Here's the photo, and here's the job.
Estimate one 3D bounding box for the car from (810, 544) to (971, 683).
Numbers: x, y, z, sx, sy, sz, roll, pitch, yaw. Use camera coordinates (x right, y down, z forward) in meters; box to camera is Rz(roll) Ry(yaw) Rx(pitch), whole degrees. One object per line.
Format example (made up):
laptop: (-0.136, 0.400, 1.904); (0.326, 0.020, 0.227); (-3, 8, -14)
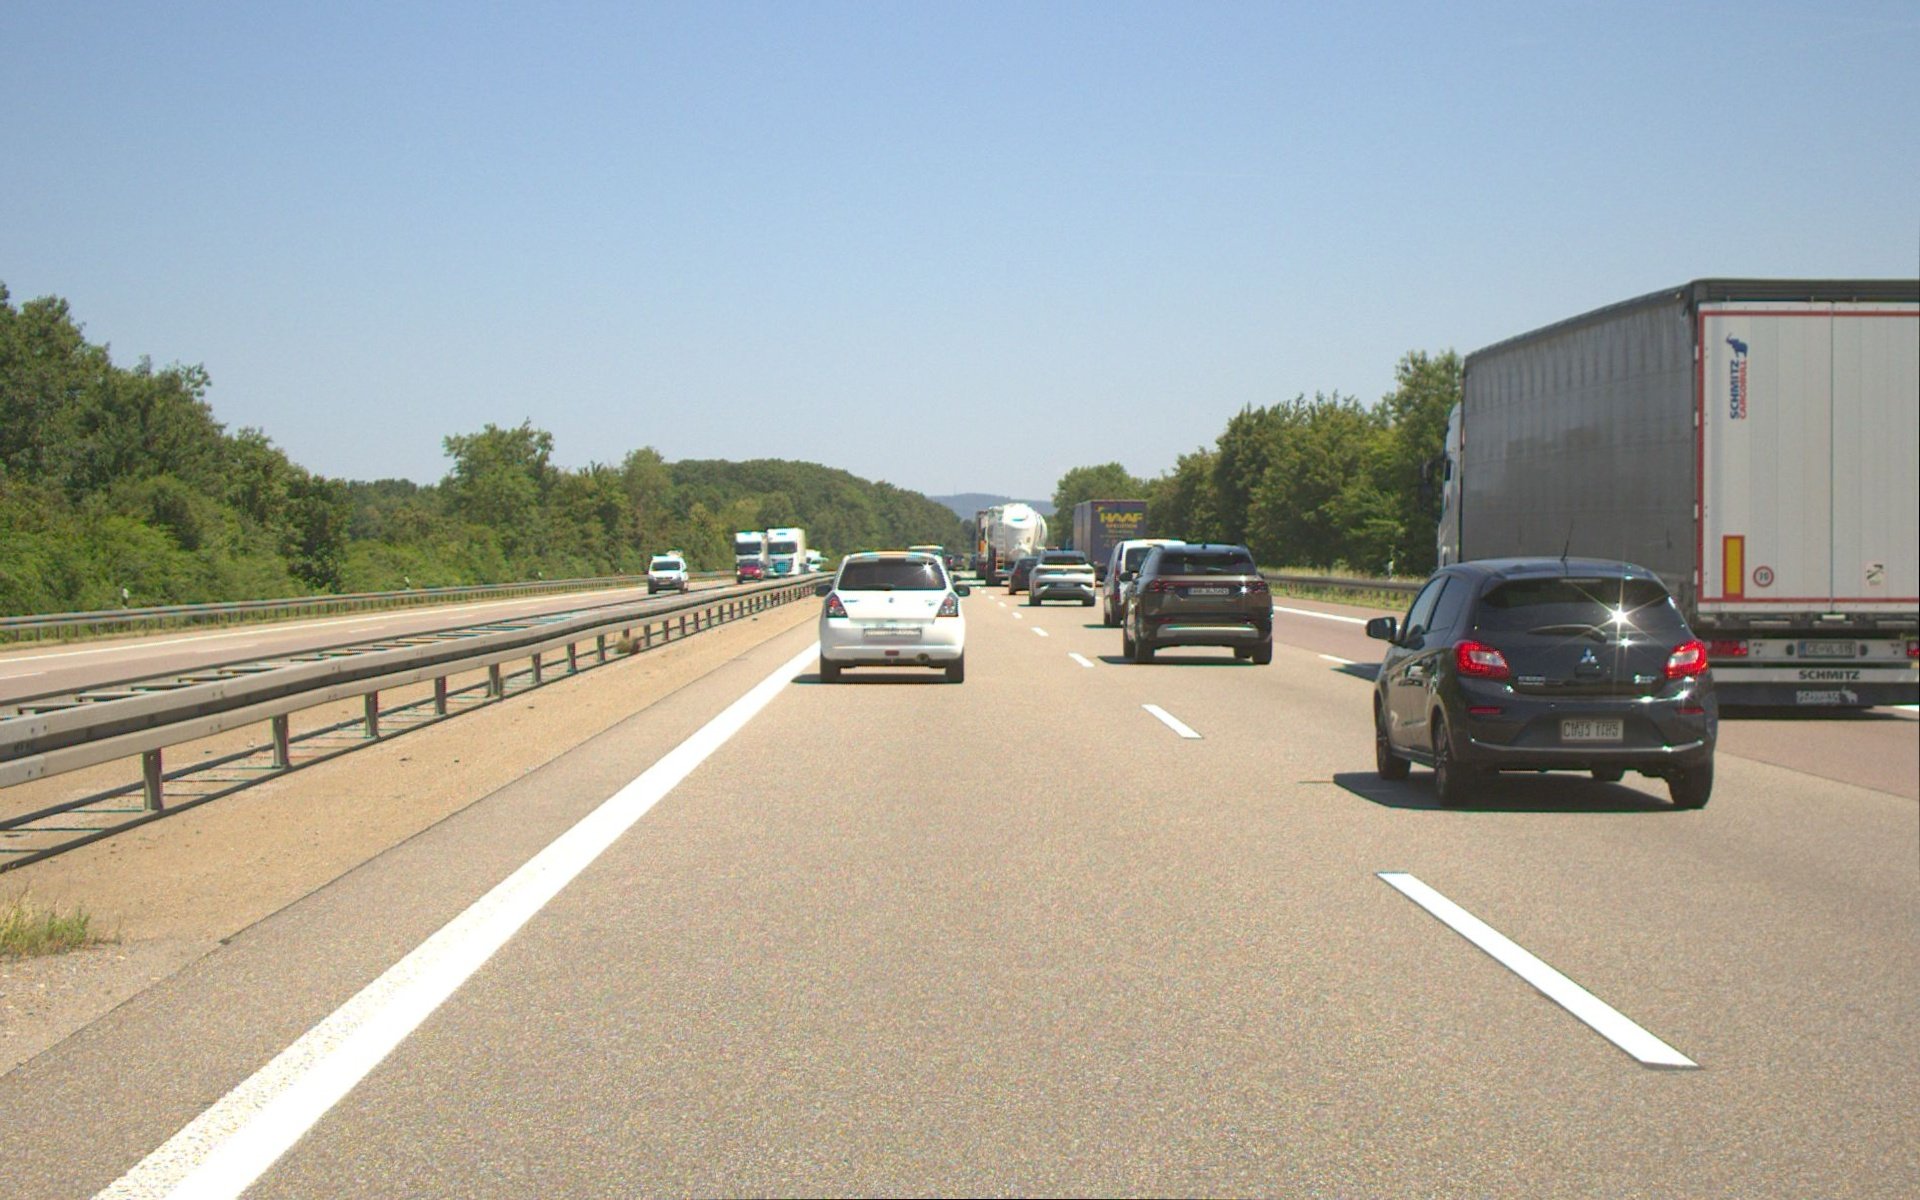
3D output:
car: (-0.813, 0.132, 40.712); (1.799, 1.547, 3.610); (1, 1, -1)

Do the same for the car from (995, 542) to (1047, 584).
car: (2.249, -1.368, 128.297); (1.850, 1.518, 3.957); (1, 1, 0)

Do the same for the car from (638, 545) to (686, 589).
car: (-14.460, -1.614, 167.130); (1.788, 2.007, 4.380); (-3, 0, 1)

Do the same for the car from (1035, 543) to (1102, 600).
car: (3.164, -0.834, 100.666); (1.802, 1.597, 4.381); (1, 1, 0)

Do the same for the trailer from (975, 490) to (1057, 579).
trailer: (2.591, -3.079, 164.043); (2.911, 4.055, 12.420); (1, 1, -3)

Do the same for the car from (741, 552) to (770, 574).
car: (-14.103, -2.554, 237.041); (1.772, 1.412, 4.111); (-3, 1, -1)

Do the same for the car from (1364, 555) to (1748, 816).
car: (3.605, 0.471, 21.345); (1.687, 1.468, 3.433); (1, 1, -1)

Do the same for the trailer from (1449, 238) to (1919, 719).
trailer: (7.872, -1.161, 37.949); (2.810, 4.290, 14.255); (1, 1, 0)

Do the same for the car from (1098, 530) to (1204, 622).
car: (3.982, -0.515, 72.350); (1.853, 1.856, 4.702); (1, 1, -1)

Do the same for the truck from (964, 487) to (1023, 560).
truck: (2.019, -4.496, 204.707); (3.394, 4.199, 12.083); (1, 1, 1)

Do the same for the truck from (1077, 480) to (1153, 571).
truck: (7.332, -3.482, 164.764); (3.109, 4.124, 15.511); (1, 1, 1)

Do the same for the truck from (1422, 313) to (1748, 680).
truck: (7.849, -1.259, 44.123); (2.810, 4.290, 7.193); (1, 1, 0)

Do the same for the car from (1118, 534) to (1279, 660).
car: (3.306, -0.071, 48.501); (1.867, 1.669, 4.746); (1, 1, -1)
